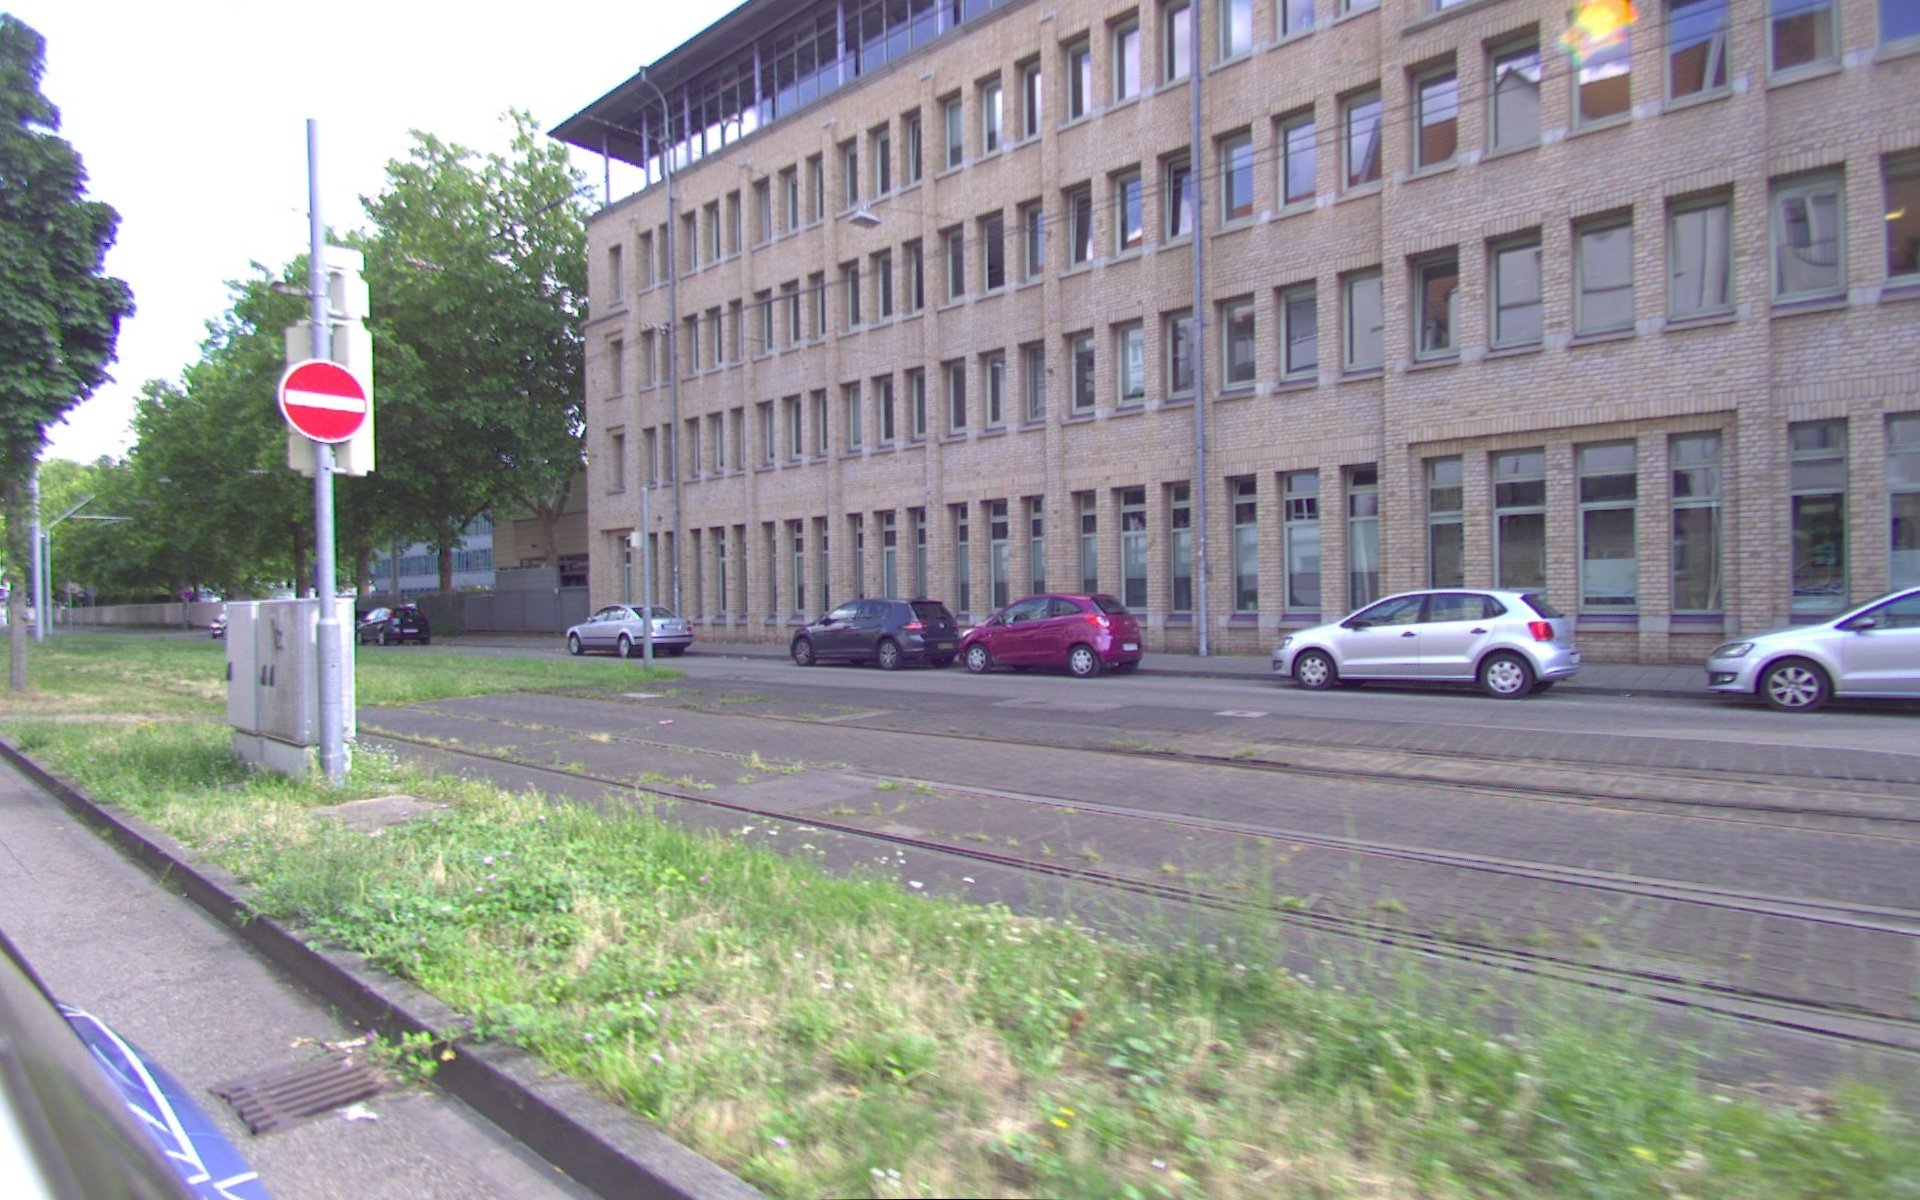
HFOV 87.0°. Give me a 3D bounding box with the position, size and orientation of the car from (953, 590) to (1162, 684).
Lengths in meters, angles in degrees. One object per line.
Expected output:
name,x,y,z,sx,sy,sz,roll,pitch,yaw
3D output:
car,1.709,0.627,18.370,3.549,1.542,1.566,-1,0,42

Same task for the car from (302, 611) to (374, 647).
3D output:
car,-26.546,1.218,43.132,3.900,1.436,1.538,-1,0,41

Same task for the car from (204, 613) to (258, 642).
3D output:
car,-38.523,1.428,53.452,4.000,1.475,1.580,-1,0,43

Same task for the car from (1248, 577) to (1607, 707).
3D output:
car,6.410,0.516,14.165,4.209,1.542,1.831,-1,0,42

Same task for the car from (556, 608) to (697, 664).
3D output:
car,-9.236,0.943,27.823,4.484,1.406,1.697,-1,0,42

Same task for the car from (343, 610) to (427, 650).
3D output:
car,-22.456,1.132,39.484,4.001,1.464,1.783,-1,0,44

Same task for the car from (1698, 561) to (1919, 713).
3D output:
car,10.500,0.360,10.834,4.014,1.542,1.912,-1,0,42

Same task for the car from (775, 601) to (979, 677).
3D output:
car,-1.821,0.773,21.357,4.238,1.406,1.912,-1,0,42
